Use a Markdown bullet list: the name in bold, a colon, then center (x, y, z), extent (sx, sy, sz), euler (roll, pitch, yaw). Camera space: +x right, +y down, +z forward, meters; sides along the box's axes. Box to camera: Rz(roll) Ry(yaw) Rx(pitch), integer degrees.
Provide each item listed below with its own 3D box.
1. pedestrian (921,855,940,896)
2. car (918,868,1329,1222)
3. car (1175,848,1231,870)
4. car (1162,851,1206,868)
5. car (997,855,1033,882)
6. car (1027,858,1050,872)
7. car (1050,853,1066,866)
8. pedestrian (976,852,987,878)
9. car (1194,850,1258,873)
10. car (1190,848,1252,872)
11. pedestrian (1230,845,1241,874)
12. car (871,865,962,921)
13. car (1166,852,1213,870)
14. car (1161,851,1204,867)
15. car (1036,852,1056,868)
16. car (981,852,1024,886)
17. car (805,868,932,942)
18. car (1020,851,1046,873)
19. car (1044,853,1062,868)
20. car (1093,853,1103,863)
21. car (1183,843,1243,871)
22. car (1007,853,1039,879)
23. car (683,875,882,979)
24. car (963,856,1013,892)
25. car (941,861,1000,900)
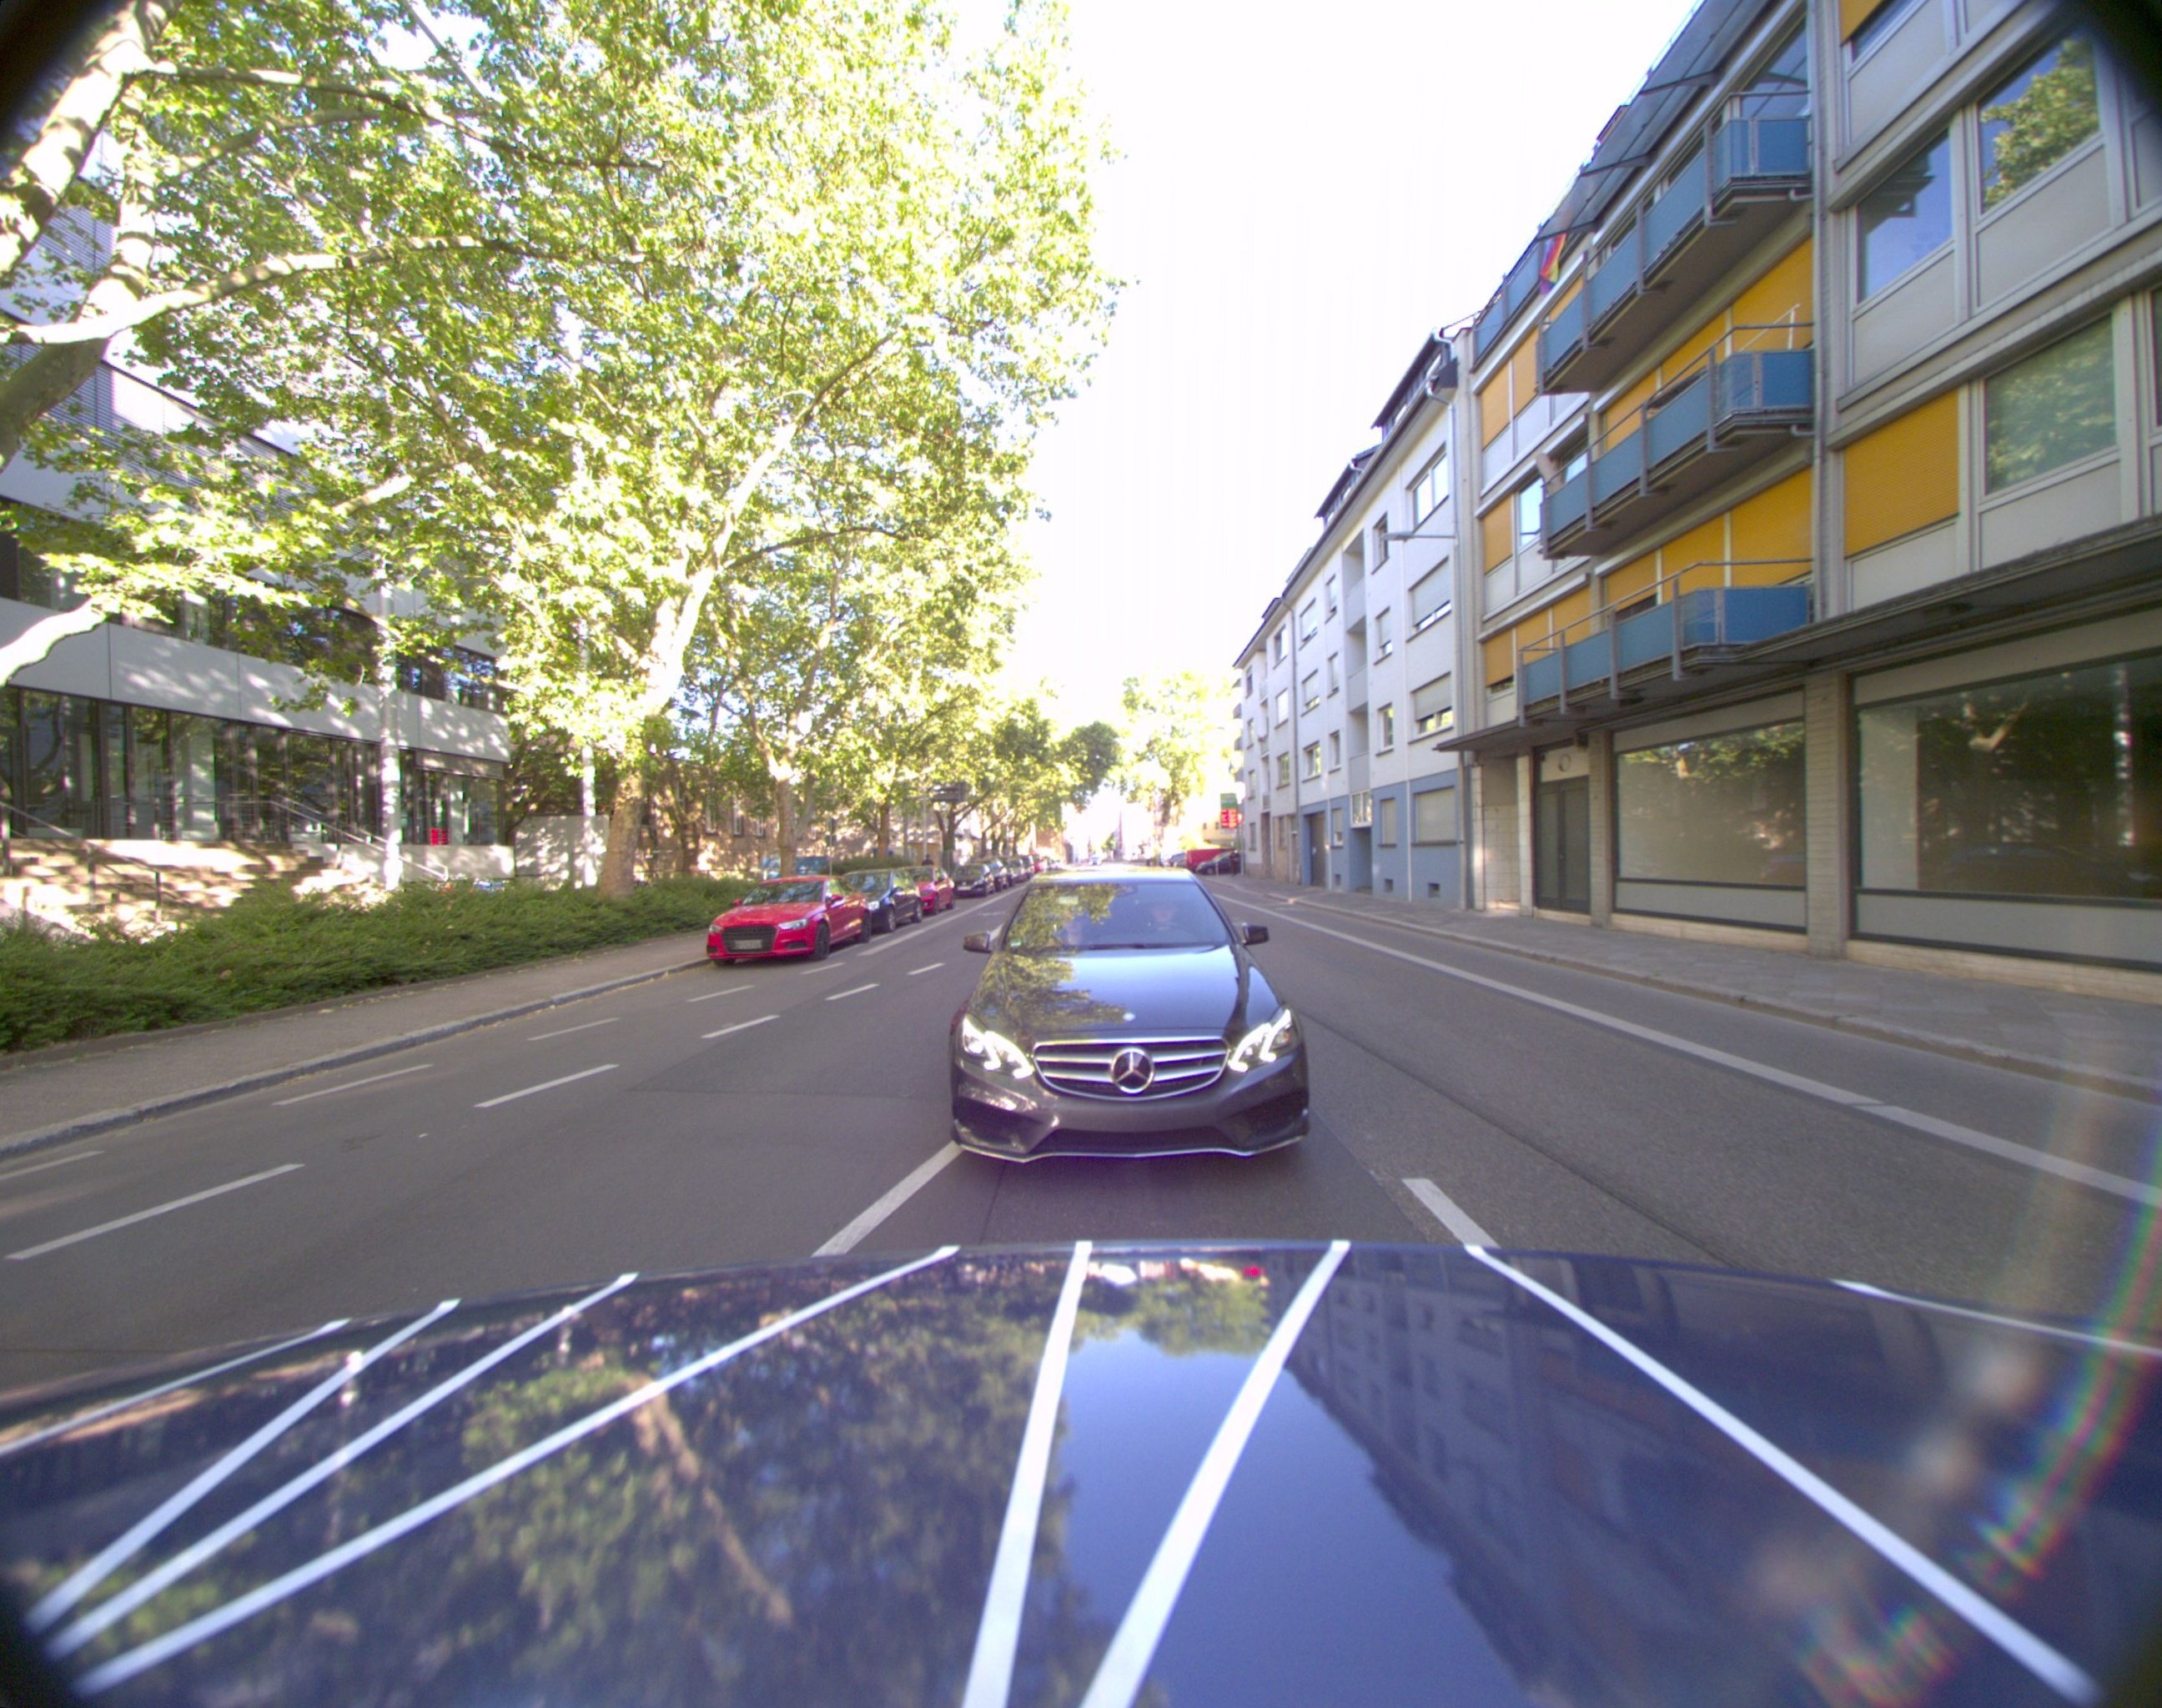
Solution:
- **pedestrian**: center (-6.819, 0.958, 34.496), extent (0.660, 1.849, 0.641), euler (-2, 1, 1)
- **car**: center (0.226, 0.921, 5.632), extent (1.849, 1.490, 4.302), euler (-1, 0, 1)
- **car**: center (10.051, 0.408, 62.711), extent (4.255, 1.461, 1.653), euler (-4, 0, 1)
- **car**: center (10.602, 0.540, 78.650), extent (4.255, 1.461, 1.653), euler (-4, 0, 1)
- **car**: center (-4.339, 0.947, 50.607), extent (1.835, 1.604, 4.259), euler (-2, 0, 1)
- **car**: center (-3.992, 1.025, 71.787), extent (1.835, 1.220, 4.259), euler (-2, 0, 1)
- **car**: center (-3.049, 0.681, 102.948), extent (1.835, 1.667, 4.259), euler (-2, 0, 1)
- **pedestrian**: center (-6.881, 0.778, 52.450), extent (0.601, 1.785, 0.593), euler (-2, 1, 0)
- **car**: center (10.399, 0.519, 54.747), extent (4.255, 1.392, 1.653), euler (-4, 0, 1)
- **car**: center (10.483, 0.455, 57.049), extent (4.255, 1.461, 1.653), euler (-4, 0, 1)
- **pedestrian**: center (9.006, 0.328, 44.295), extent (0.612, 1.685, 0.656), euler (-1, 1, 12)
- **car**: center (-5.043, 1.137, 23.839), extent (1.835, 1.459, 4.168), euler (-2, 0, 1)
- **car**: center (10.431, 0.673, 73.191), extent (4.255, 1.461, 1.653), euler (-4, 0, 1)
- **car**: center (10.773, 0.513, 80.614), extent (4.255, 1.461, 1.653), euler (-4, 0, 1)
- **car**: center (-3.940, 0.666, 86.226), extent (1.835, 1.667, 4.259), euler (-2, 0, 1)
- **car**: center (-4.511, 0.823, 44.113), extent (1.835, 1.787, 4.463), euler (-2, 0, 1)
- **car**: center (-5.041, 1.153, 18.630), extent (1.835, 1.438, 4.168), euler (-2, 0, 1)
- **car**: center (-4.147, 0.681, 66.346), extent (1.835, 1.839, 4.259), euler (-2, 0, 1)
- **car**: center (-3.413, 0.784, 92.841), extent (1.835, 1.667, 4.259), euler (-2, 0, 1)
- **car**: center (2.867, 0.684, 130.404), extent (1.726, 1.530, 4.000), euler (-1, 0, 1)
- **car**: center (10.414, 0.223, 60.129), extent (4.255, 1.907, 1.818), euler (-4, 0, 0)
- **car**: center (-4.180, 0.812, 55.638), extent (1.835, 1.750, 4.259), euler (-2, 0, 1)
- **car**: center (-5.130, 1.181, 13.769), extent (1.835, 1.396, 4.247), euler (-2, 0, 1)
- **car**: center (-4.597, 0.966, 38.074), extent (1.835, 1.596, 4.161), euler (-2, 0, 1)
- **car**: center (-4.746, 1.106, 33.176), extent (1.835, 1.459, 4.168), euler (-2, 0, 1)
